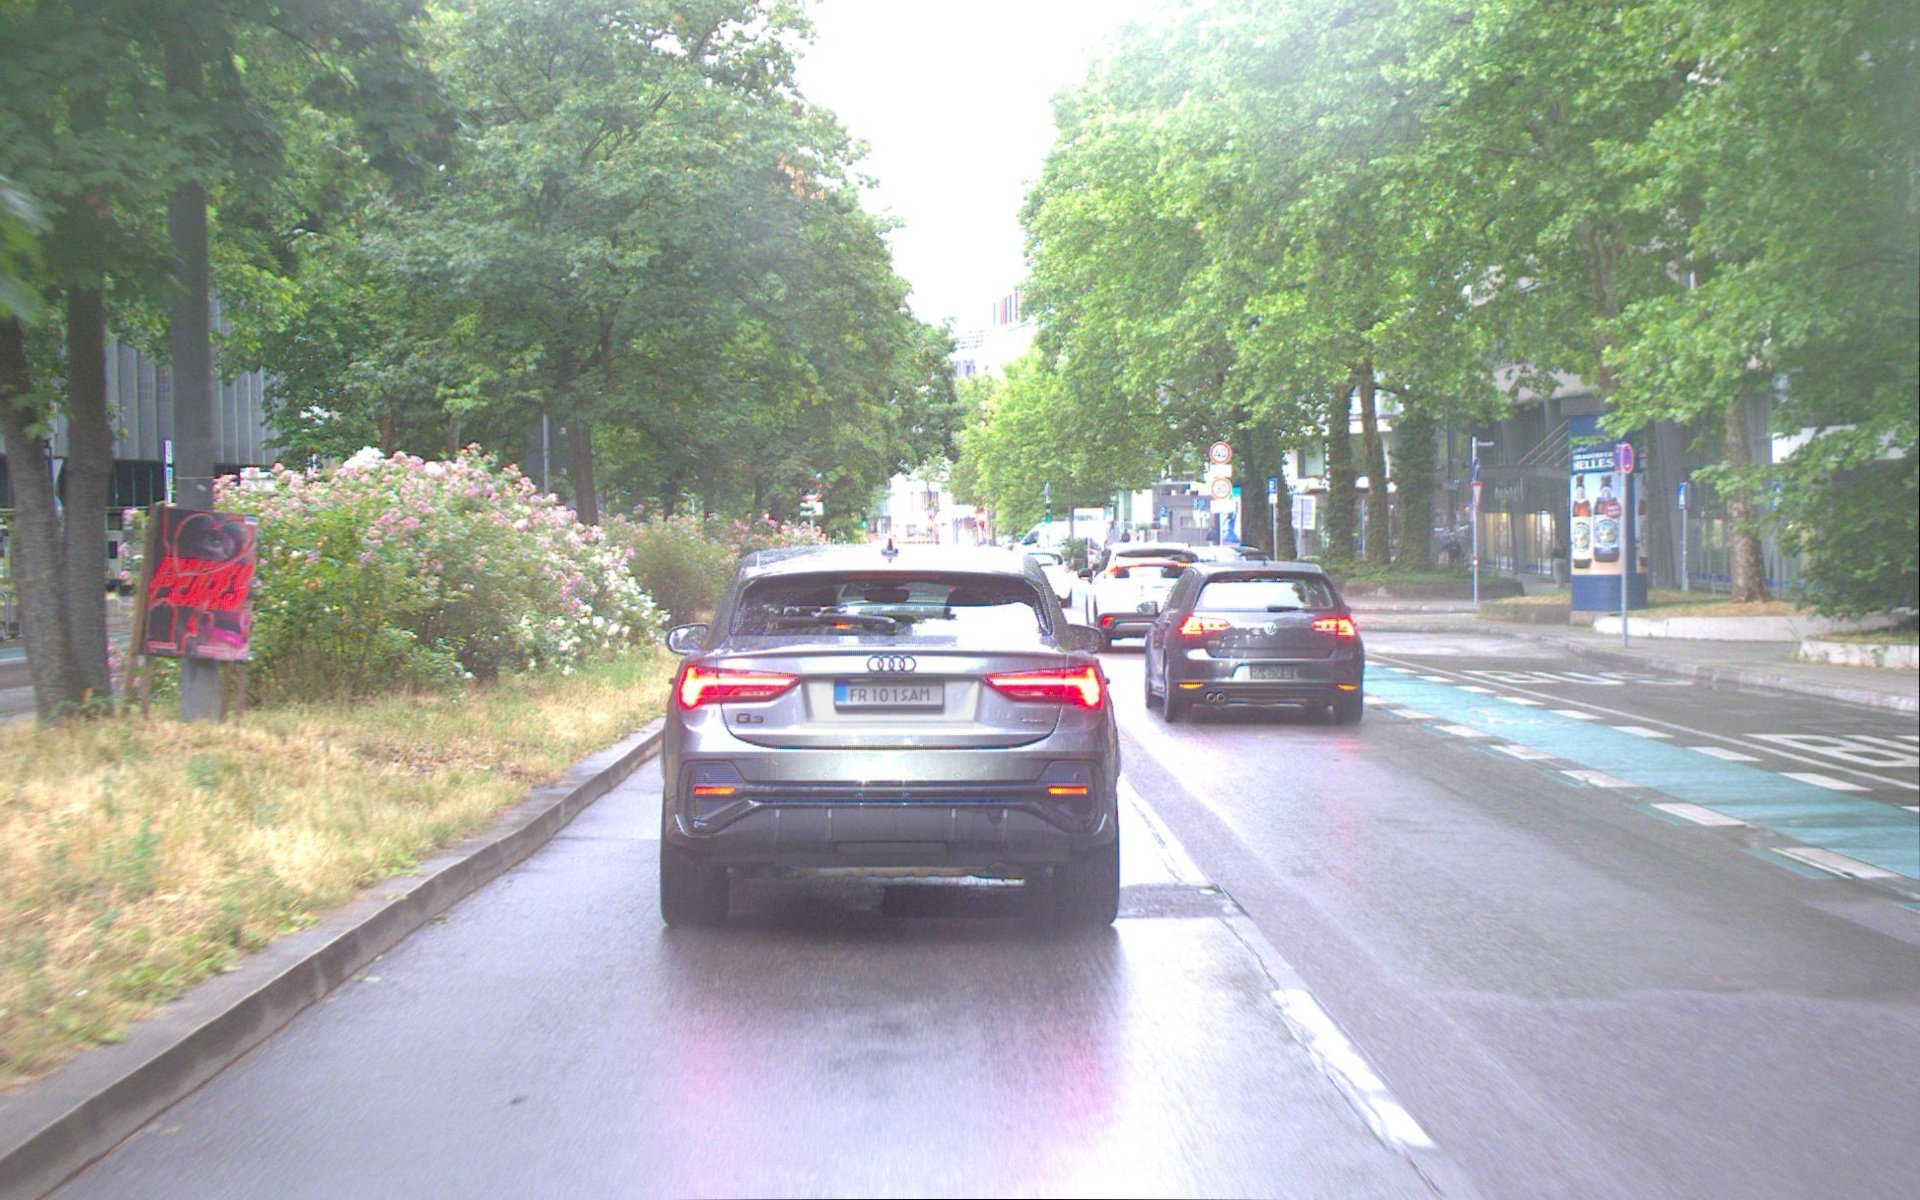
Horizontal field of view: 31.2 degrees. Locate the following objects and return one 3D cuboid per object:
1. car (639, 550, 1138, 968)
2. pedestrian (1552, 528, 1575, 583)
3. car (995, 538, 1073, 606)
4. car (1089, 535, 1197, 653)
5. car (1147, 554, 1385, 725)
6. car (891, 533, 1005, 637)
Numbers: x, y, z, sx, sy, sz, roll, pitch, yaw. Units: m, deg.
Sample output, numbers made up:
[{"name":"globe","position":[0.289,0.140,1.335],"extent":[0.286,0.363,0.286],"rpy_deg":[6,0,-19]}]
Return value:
[{"name":"car","position":[-0.230,0.564,15.146],"extent":[1.863,1.527,4.527],"rpy_deg":[0,1,1]},{"name":"pedestrian","position":[19.976,-1.485,113.818],"extent":[0.650,1.809,0.655],"rpy_deg":[0,1,-1]},{"name":"car","position":[1.966,-0.762,92.473],"extent":[1.993,1.744,4.000],"rpy_deg":[-1,1,0]},{"name":"car","position":[2.729,-0.114,51.668],"extent":[1.433,1.679,2.979],"rpy_deg":[-1,1,0]},{"name":"car","position":[2.742,0.315,31.593],"extent":[1.765,1.408,4.000],"rpy_deg":[-1,1,-1]},{"name":"car","position":[-0.202,-0.266,54.632],"extent":[1.721,1.572,3.962],"rpy_deg":[-1,1,-1]}]
